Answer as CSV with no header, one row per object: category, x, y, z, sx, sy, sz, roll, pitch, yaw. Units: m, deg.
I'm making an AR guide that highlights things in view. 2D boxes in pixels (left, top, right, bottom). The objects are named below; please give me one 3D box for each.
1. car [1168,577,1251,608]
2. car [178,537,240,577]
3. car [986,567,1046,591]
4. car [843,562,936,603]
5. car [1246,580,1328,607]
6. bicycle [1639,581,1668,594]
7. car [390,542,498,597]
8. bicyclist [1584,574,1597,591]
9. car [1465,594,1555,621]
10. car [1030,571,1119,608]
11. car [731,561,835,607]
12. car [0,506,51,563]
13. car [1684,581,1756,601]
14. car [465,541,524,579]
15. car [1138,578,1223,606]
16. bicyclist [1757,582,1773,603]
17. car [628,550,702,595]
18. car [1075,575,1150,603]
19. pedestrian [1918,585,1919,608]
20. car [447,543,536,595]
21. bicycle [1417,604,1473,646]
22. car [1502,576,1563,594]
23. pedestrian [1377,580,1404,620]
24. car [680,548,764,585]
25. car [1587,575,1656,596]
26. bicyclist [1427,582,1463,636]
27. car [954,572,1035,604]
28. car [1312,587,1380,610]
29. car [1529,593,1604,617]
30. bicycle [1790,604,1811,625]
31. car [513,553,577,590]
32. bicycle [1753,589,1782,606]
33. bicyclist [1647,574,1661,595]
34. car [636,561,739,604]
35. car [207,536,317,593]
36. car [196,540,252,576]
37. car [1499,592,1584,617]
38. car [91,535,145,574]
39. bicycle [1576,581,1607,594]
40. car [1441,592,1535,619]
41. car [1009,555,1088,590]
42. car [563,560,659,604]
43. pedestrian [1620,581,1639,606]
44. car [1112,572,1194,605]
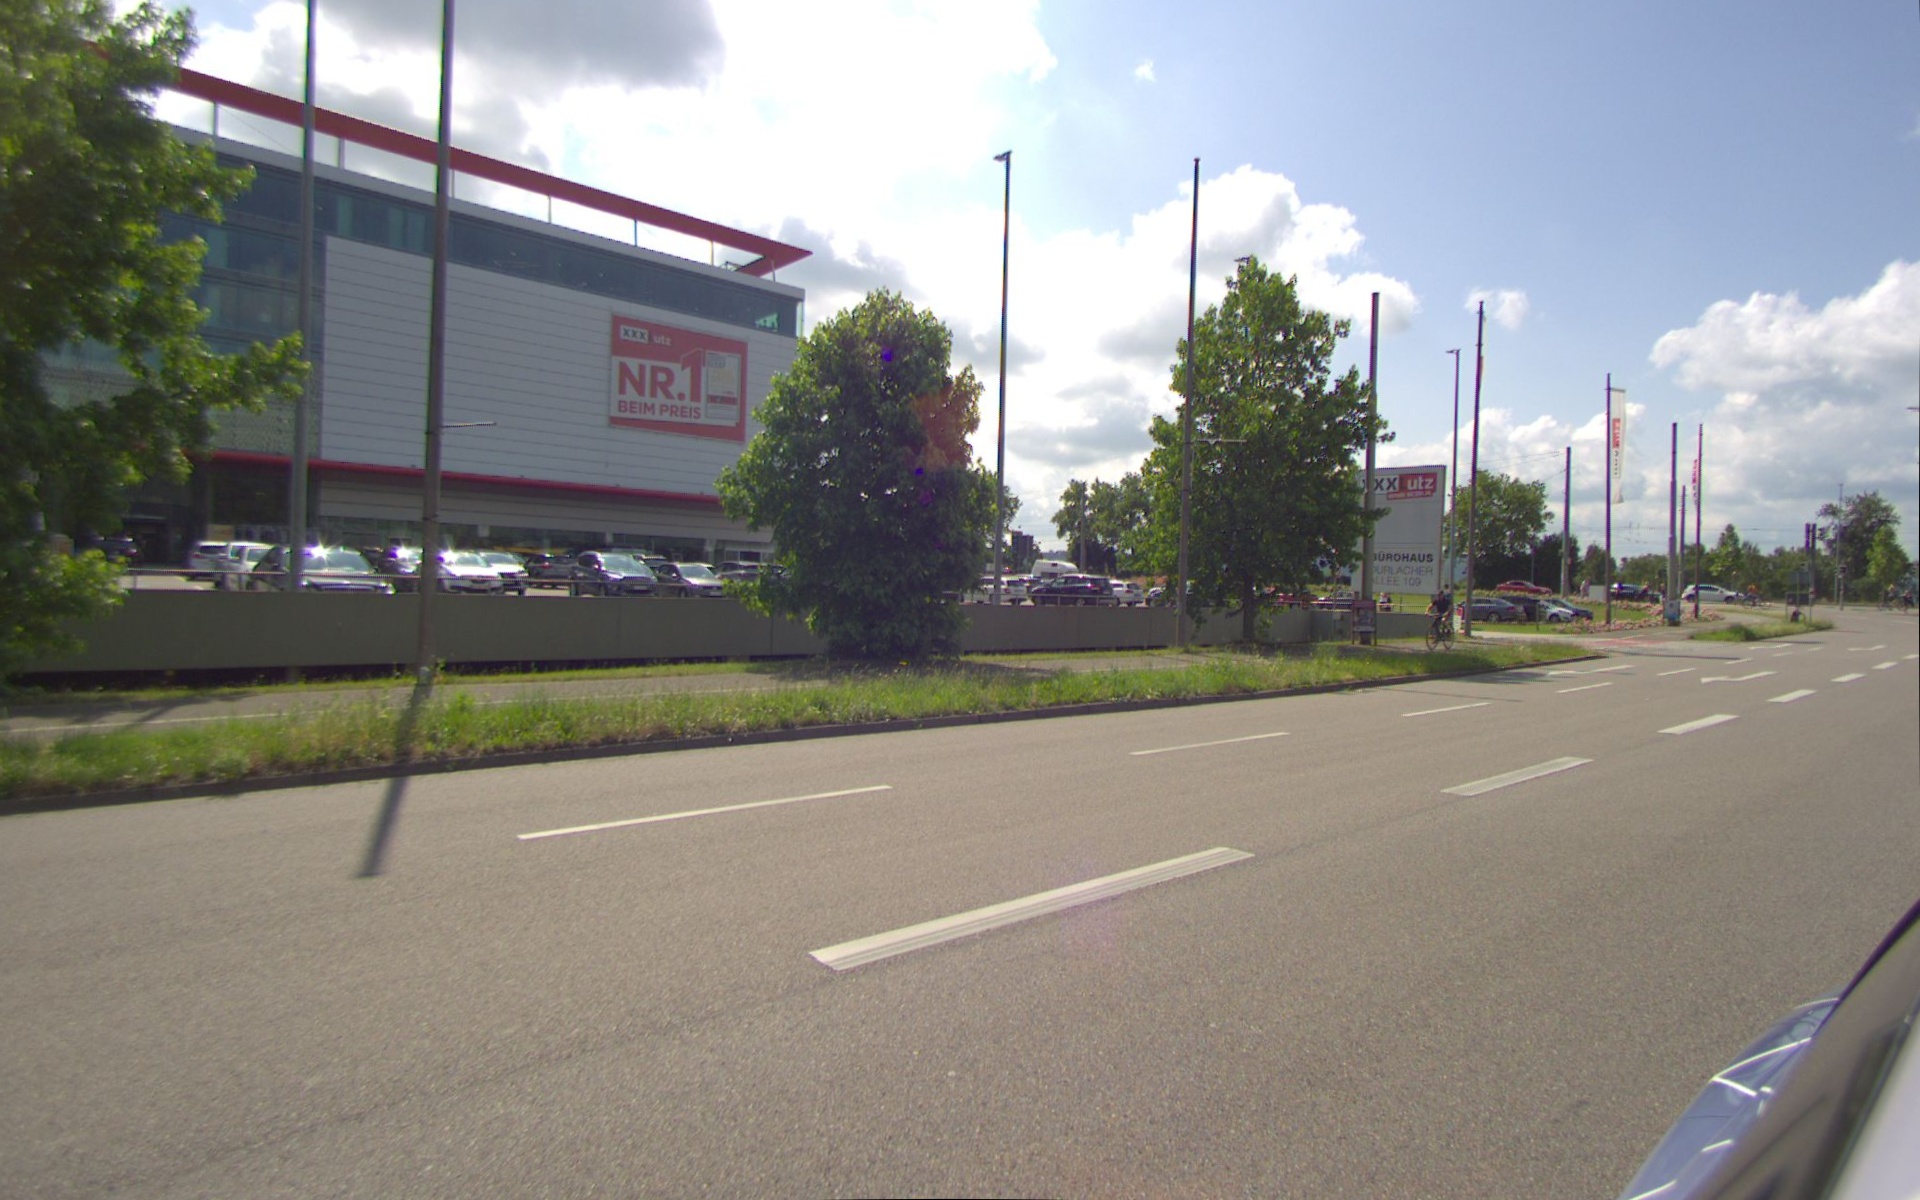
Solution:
car,13.886,-0.425,56.598,1.597,1.460,4.370,2,2,-39
car,-28.977,-1.621,39.015,1.600,1.438,3.994,2,0,-41
car,3.777,-1.372,68.513,1.818,1.571,4.057,0,0,-39
car,-3.051,-0.767,43.098,1.734,1.571,4.189,1,2,-42
car,19.735,-0.391,61.190,1.813,1.379,4.370,2,2,-39
bicycle,52.030,-0.931,75.906,1.678,0.973,0.660,1,0,24
car,-15.963,-0.912,31.220,1.966,1.590,3.991,0,1,-43
bicyclist,49.198,-1.347,78.992,0.581,1.342,0.688,2,0,-32
car,32.927,0.423,60.672,1.824,1.434,4.367,0,2,-40
car,5.431,-0.535,48.392,1.713,1.550,4.058,0,3,-44
car,-7.068,-0.657,40.159,1.995,1.593,4.366,1,2,-42
car,-35.825,-2.461,38.276,1.965,1.976,3.994,2,0,-41
car,62.359,-0.747,83.058,1.981,1.430,4.487,0,2,-44
car,-23.421,-1.968,50.827,1.646,1.805,3.994,2,0,-41
car,11.961,-0.450,55.177,1.813,1.379,4.370,0,2,-39
bicyclist,58.374,-0.544,73.391,0.686,1.555,0.618,1,0,12
car,-14.274,-1.322,48.837,1.965,2.039,3.995,2,0,-40
car,8.852,-0.653,59.051,1.793,1.527,4.157,1,0,-40
pedestrian,65.017,-0.236,68.191,0.460,1.543,0.586,0,0,-32
car,-17.012,-1.116,36.677,1.762,1.749,3.992,2,0,-42
bicycle,13.147,0.669,27.414,1.933,1.081,0.624,1,1,-41
car,49.174,-1.293,86.941,1.721,1.377,4.238,-1,3,-45
pedestrian,19.701,0.011,46.319,0.856,1.805,0.783,1,0,5
car,-10.433,-1.433,44.165,1.730,1.482,4.246,2,0,-42
car,52.770,-1.167,80.788,1.877,1.501,4.209,0,3,-28
bicyclist,13.116,0.250,27.374,0.702,1.430,0.616,1,0,-41
car,1.744,-0.632,52.567,1.728,1.445,4.298,3,0,-40
car,29.281,-0.096,76.845,2.012,1.426,4.371,2,2,-39
car,40.245,0.322,67.225,1.687,1.435,3.993,0,2,-42
bicycle,39.314,0.669,47.331,1.517,0.964,0.518,0,1,-42
car,-19.343,-1.316,47.061,1.548,1.616,3.676,2,0,-43
bicycle,58.529,-0.191,73.347,1.482,1.180,0.618,1,0,13
bicyclist,52.047,-1.161,75.915,0.734,1.494,0.646,1,0,23
car,-9.832,-0.650,36.325,1.734,1.341,4.366,1,2,-42
car,-19.504,-1.027,28.211,1.861,1.406,4.189,1,2,-44
car,-32.057,-1.800,44.028,1.600,1.438,3.994,2,0,-41
car,36.806,0.265,64.127,1.765,1.458,4.367,0,1,-40
car,-34.402,-1.829,41.331,1.600,1.438,3.574,2,0,-41
bicycle,49.221,-1.002,78.932,0.585,0.973,1.989,2,0,-32
car,29.745,0.276,57.156,1.823,1.495,4.368,0,0,-39
car,8.490,-2.704,97.732,3.065,3.193,7.901,0,2,-38
car,-11.965,-0.637,34.576,1.658,1.341,4.192,1,2,-41
pedestrian,49.170,-0.485,74.348,0.744,1.825,0.823,1,1,-14
car,10.201,-0.603,53.690,1.666,1.607,4.021,2,0,-42
